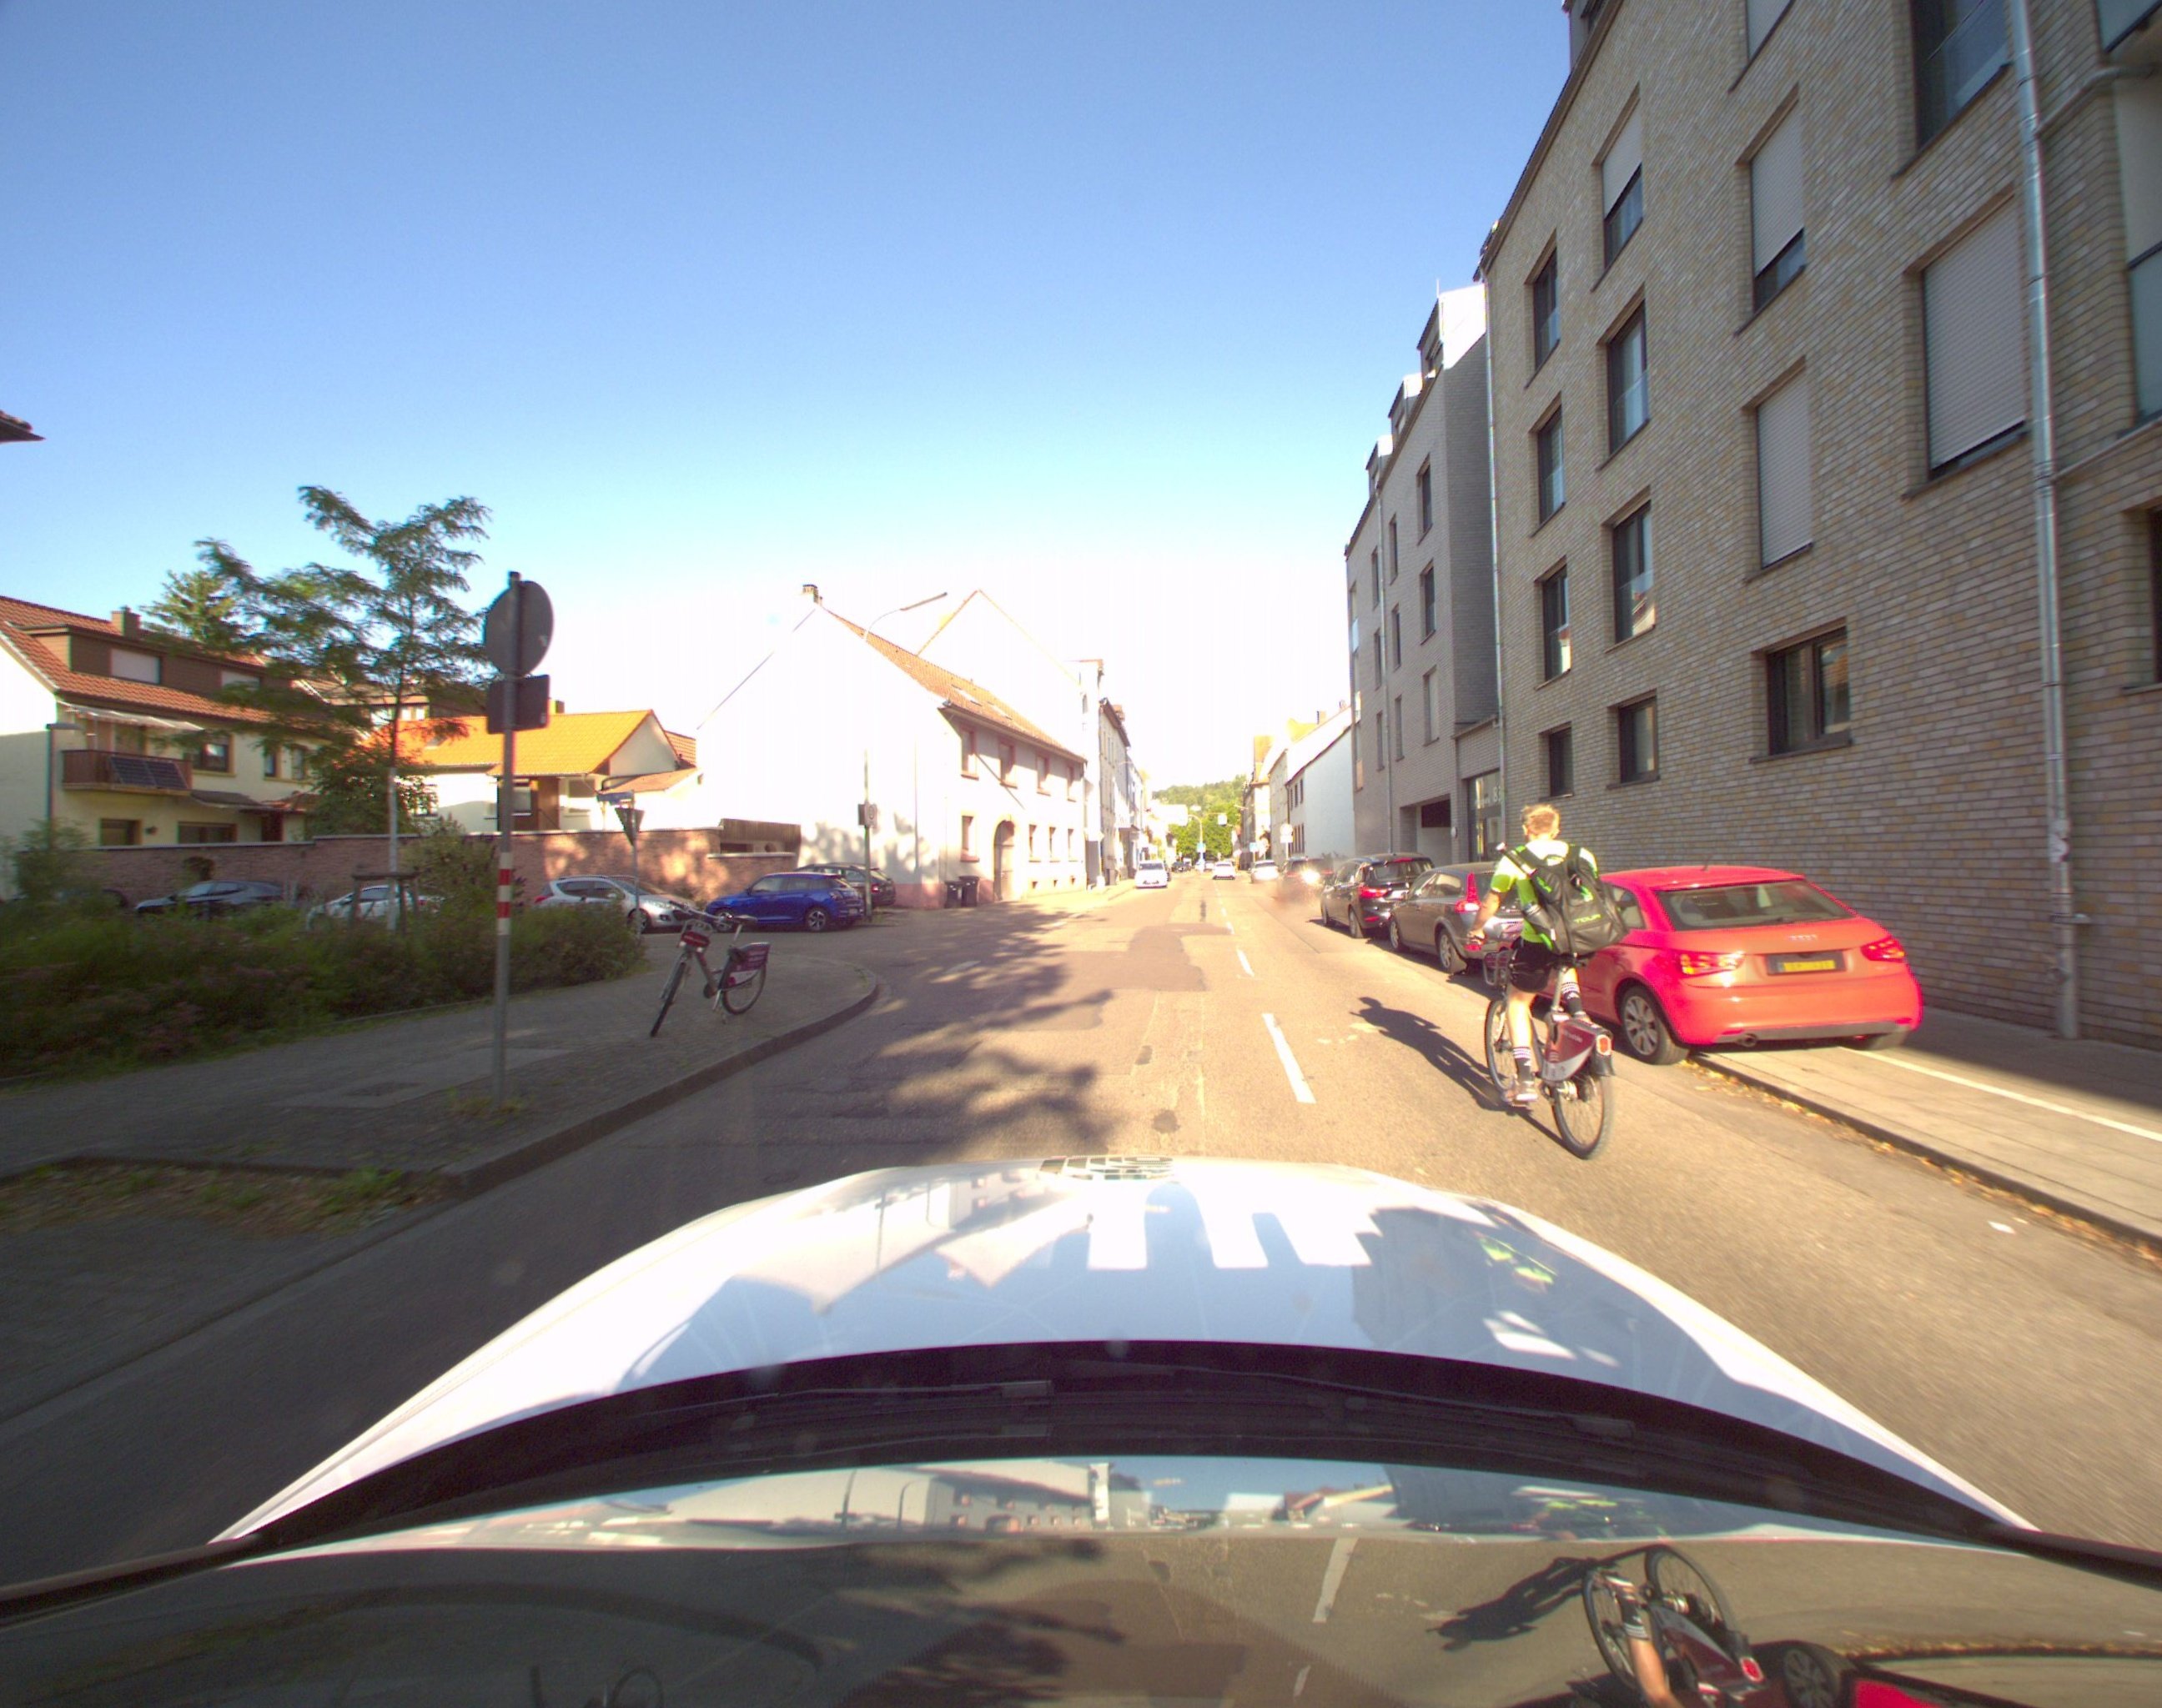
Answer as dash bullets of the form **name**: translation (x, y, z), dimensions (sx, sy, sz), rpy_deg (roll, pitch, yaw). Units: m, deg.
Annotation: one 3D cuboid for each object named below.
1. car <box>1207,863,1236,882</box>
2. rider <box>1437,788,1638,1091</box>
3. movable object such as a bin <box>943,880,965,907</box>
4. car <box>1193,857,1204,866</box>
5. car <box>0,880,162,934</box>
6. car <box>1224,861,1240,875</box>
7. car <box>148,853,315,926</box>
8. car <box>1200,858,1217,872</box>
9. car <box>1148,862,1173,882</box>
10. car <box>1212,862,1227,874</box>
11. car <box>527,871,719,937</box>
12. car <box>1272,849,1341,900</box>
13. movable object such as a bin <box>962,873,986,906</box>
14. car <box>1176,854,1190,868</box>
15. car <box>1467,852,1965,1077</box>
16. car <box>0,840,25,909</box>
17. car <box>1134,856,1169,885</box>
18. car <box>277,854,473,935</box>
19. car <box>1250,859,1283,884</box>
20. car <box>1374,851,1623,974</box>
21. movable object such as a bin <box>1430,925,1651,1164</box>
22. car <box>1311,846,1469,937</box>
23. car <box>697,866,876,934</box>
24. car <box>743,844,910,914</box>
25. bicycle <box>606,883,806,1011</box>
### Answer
- **car**: translation (11.241, 1.498, 65.373), dimensions (1.983, 1.466, 4.007), rpy_deg (-1, -1, 6)
- **rider**: translation (2.632, 0.457, 4.815), dimensions (0.650, 1.562, 1.085), rpy_deg (2, -2, 6)
- **movable object such as a bin**: translation (-4.212, 1.293, 27.006), dimensions (0.595, 0.872, 0.607), rpy_deg (-1, -1, 6)
- **car**: translation (23.083, 1.520, 159.582), dimensions (1.799, 1.701, 4.197), rpy_deg (-3, -1, 5)
- **car**: translation (-29.481, 1.511, 23.410), dimensions (3.970, 1.409, 2.002), rpy_deg (-1, 0, 3)
- **car**: translation (21.779, 2.006, 117.617), dimensions (2.000, 1.853, 4.008), rpy_deg (0, 0, 7)
- **car**: translation (-22.856, 0.940, 21.964), dimensions (3.078, 1.886, 1.389), rpy_deg (0, -2, 4)
- **car**: translation (19.113, 1.723, 122.134), dimensions (1.987, 2.014, 4.000), rpy_deg (-1, -1, 1)
- **car**: translation (6.323, 1.399, 64.485), dimensions (1.721, 1.499, 3.967), rpy_deg (-2, -2, 7)
- **car**: translation (23.698, 2.389, 139.631), dimensions (1.986, 2.014, 4.001), rpy_deg (-1, -1, 1)
- **car**: translation (-11.976, 1.283, 21.442), dimensions (3.964, 1.500, 2.005), rpy_deg (-2, 0, 8)
- **car**: translation (8.281, 0.712, 30.293), dimensions (1.844, 1.636, 4.634), rpy_deg (-4, -1, 9)
- **movable object such as a bin**: translation (-3.645, 1.202, 27.784), dimensions (0.595, 1.094, 0.753), rpy_deg (0, -1, 8)
- **car**: translation (15.570, 1.077, 124.501), dimensions (1.983, 2.014, 4.007), rpy_deg (-1, -1, 7)
- **car**: translation (5.197, 0.780, 7.505), dimensions (1.703, 1.404, 4.081), rpy_deg (-5, -1, 7)
- **car**: translation (-33.435, 0.644, 23.582), dimensions (3.743, 2.014, 1.564), rpy_deg (-1, -1, 2)
- **car**: translation (4.213, 0.945, 48.314), dimensions (1.984, 1.648, 5.229), rpy_deg (-1, -1, 5)
- **car**: translation (-18.680, 1.039, 21.652), dimensions (3.642, 2.014, 1.929), rpy_deg (-1, -1, 6)
- **car**: translation (12.116, 1.136, 53.426), dimensions (1.731, 1.492, 4.450), rpy_deg (-3, -1, 9)
- **car**: translation (5.995, 0.754, 12.376), dimensions (1.983, 1.506, 4.375), rpy_deg (-1, -1, 7)
- **movable object such as a bin**: translation (2.616, 0.995, 4.856), dimensions (0.452, 1.033, 1.843), rpy_deg (2, -2, 6)
- **car**: translation (6.400, 0.702, 17.488), dimensions (1.984, 1.653, 4.770), rpy_deg (-1, 0, 6)
- **car**: translation (-7.468, 1.144, 20.888), dimensions (3.746, 1.530, 2.005), rpy_deg (-2, 0, 8)
- **car**: translation (-7.656, 0.704, 24.684), dimensions (4.337, 1.794, 1.993), rpy_deg (2, 2, 9)
- **bicycle**: translation (-3.437, 0.798, 7.703), dimensions (0.699, 1.003, 1.947), rpy_deg (0, -1, 11)
